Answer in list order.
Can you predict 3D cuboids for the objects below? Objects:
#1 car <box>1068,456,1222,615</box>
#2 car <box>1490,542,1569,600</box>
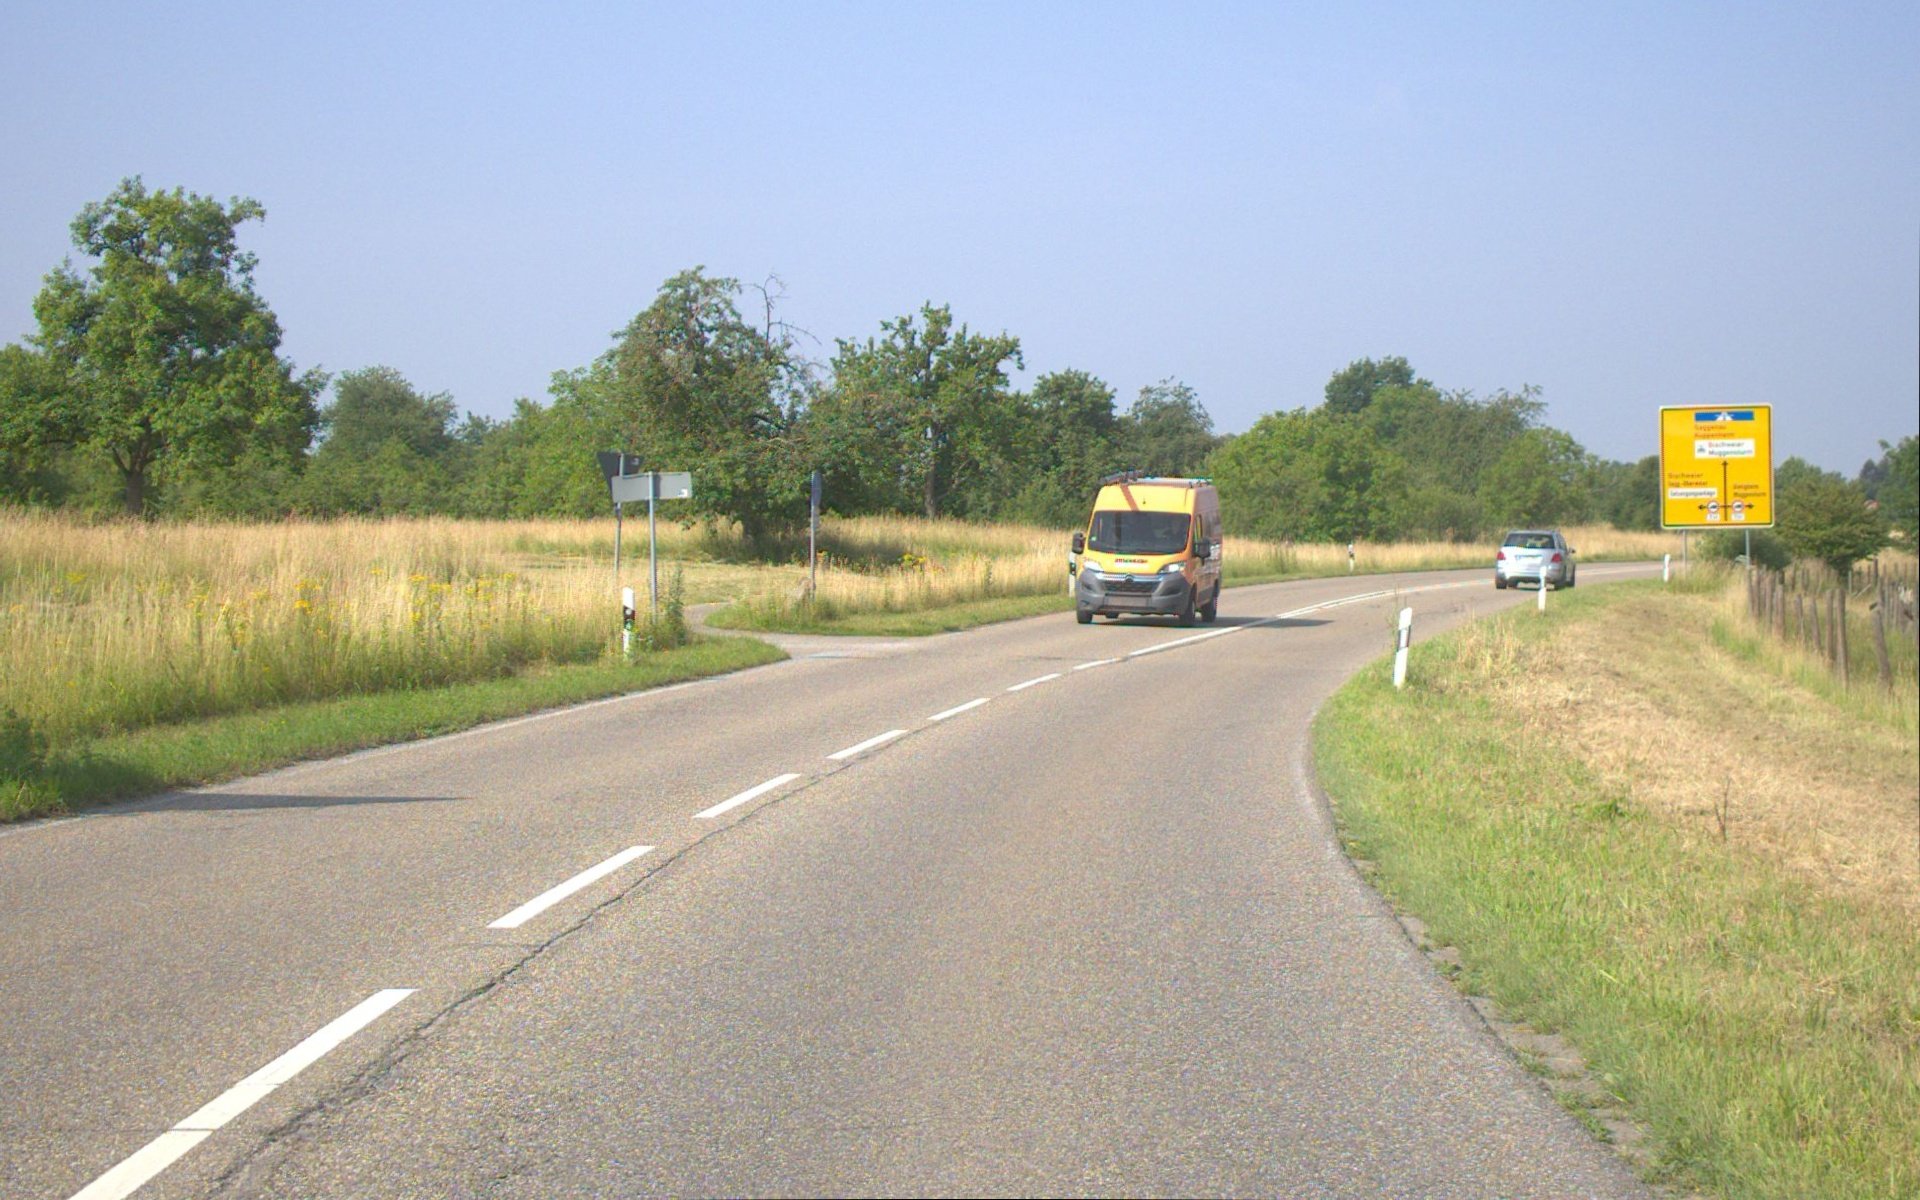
[{"bbox_3d":[3.360,-1.158,61.576,2.125,2.686,5.266,1,1,10],"label":"car"},{"bbox_3d":[15.577,-0.814,93.943,1.900,1.506,3.998,1,1,12],"label":"car"}]
